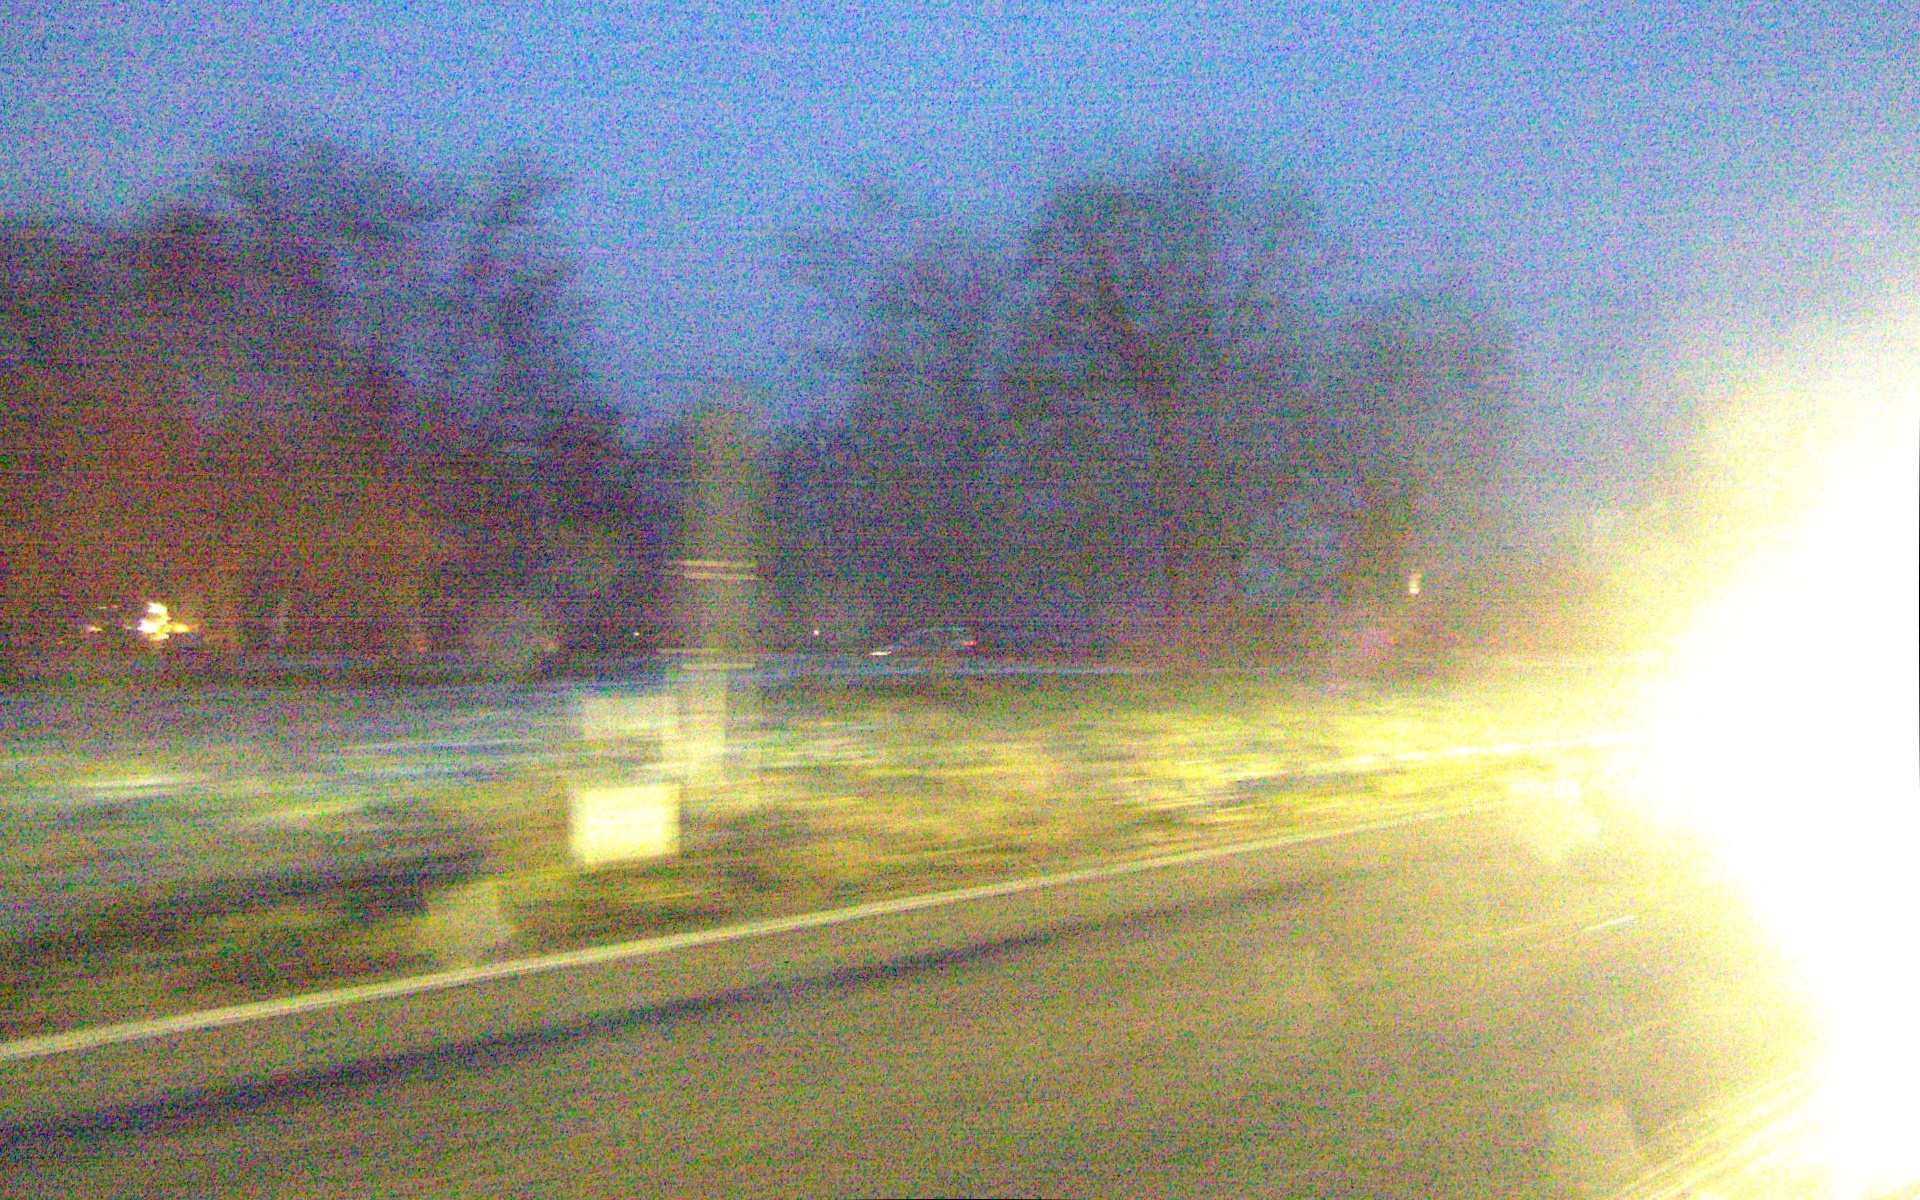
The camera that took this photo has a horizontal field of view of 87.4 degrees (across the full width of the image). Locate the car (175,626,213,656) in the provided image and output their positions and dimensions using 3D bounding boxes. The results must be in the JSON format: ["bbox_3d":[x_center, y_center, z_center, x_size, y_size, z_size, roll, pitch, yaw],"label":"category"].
[{"bbox_3d":[-62.300,3.318,81.670,2.285,2.040,4.616,4,0,-38],"label":"car"}]

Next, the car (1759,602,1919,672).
[{"bbox_3d":[24.493,0.952,26.581,1.979,1.758,4.883,1,-1,-33],"label":"car"}]

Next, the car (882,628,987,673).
[{"bbox_3d":[-1.017,2.037,40.126,4.083,1.709,1.694,1,-3,-3],"label":"car"}]
